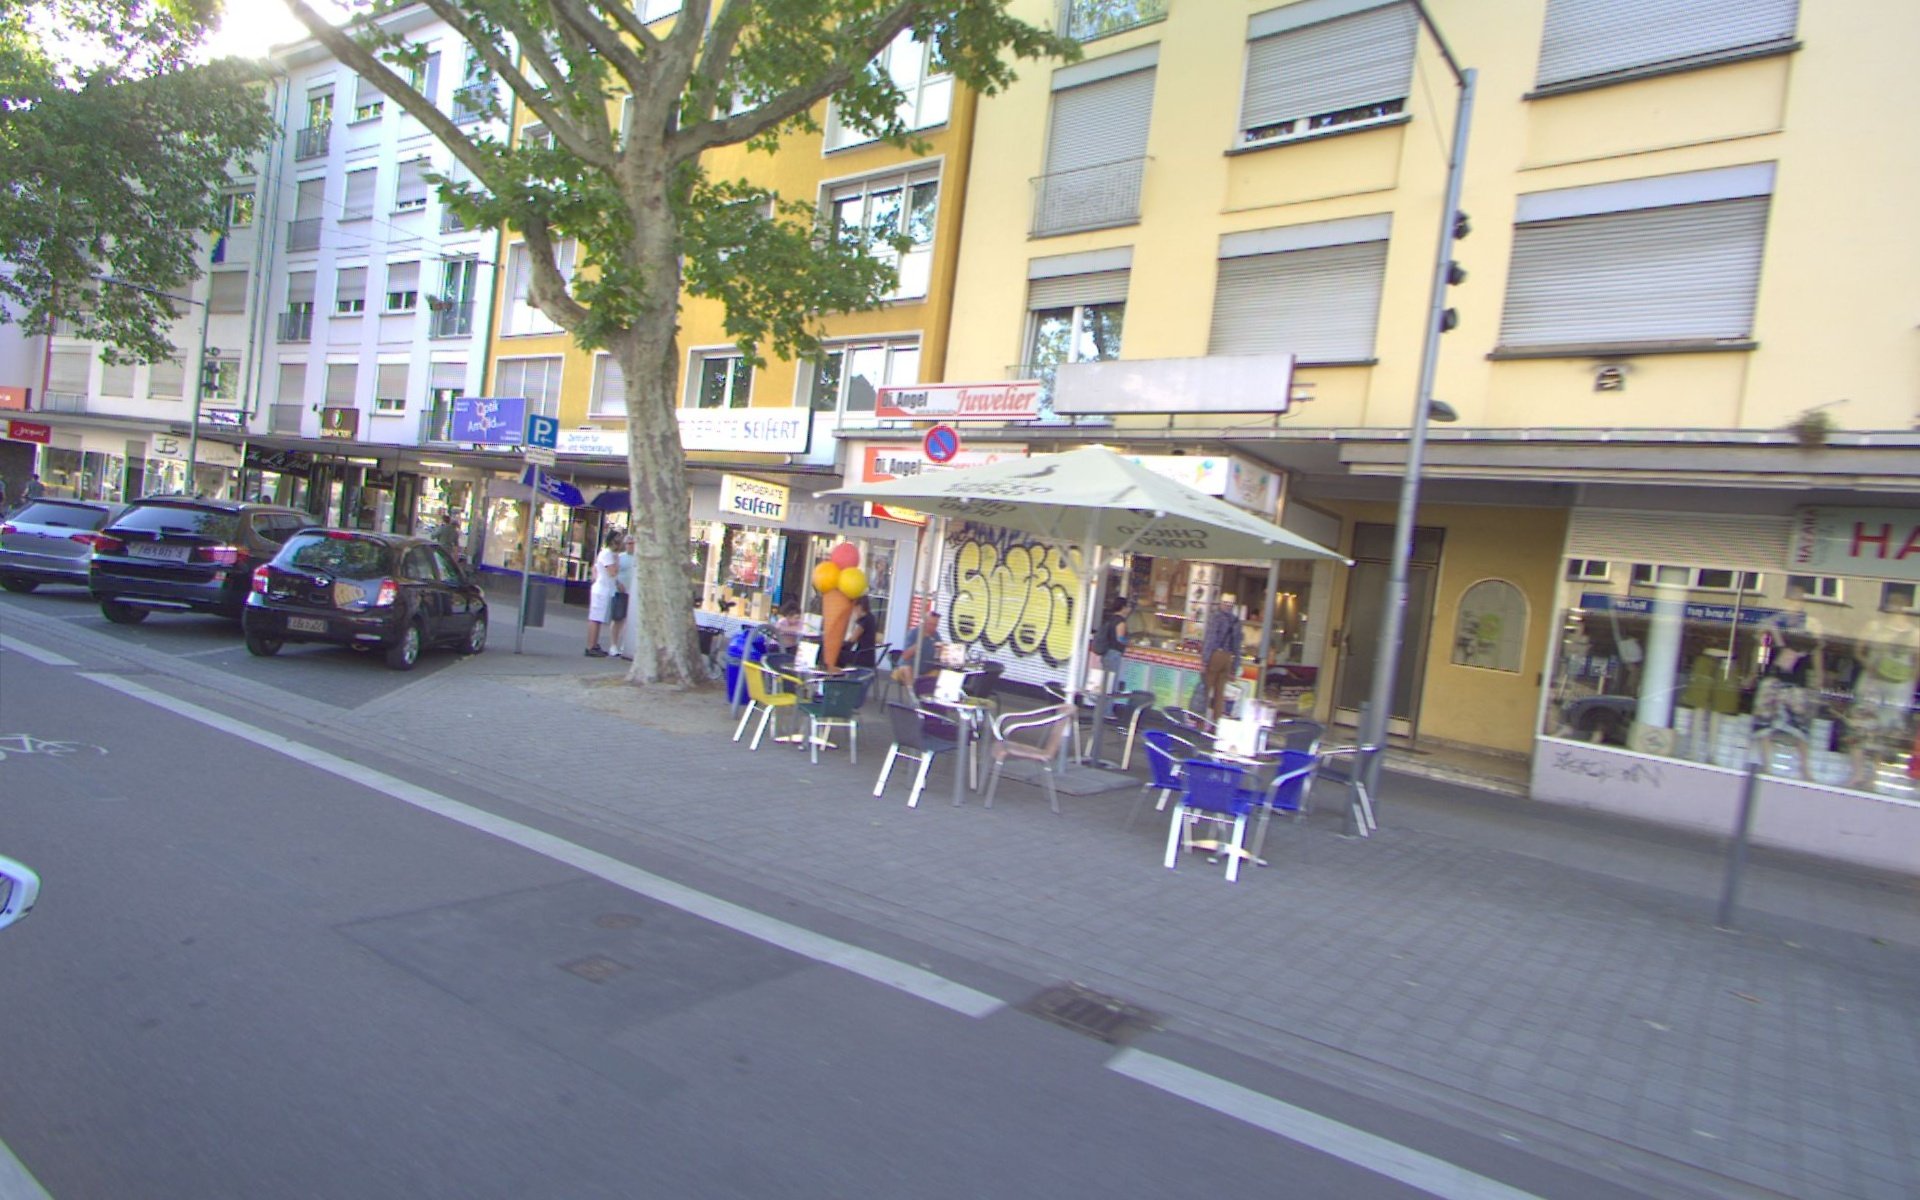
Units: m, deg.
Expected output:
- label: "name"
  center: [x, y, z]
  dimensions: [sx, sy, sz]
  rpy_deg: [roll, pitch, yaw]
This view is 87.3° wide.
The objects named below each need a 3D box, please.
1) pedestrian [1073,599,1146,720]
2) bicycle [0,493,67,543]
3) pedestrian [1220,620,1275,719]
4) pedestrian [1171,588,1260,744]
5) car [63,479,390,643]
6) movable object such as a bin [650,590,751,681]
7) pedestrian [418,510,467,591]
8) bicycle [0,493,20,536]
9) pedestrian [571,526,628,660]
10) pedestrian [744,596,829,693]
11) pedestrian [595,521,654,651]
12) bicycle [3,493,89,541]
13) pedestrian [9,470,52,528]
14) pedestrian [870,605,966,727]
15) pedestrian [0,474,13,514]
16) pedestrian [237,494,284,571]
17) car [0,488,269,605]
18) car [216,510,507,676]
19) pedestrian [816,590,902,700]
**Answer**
- label: "pedestrian"
  center: [2.011, 0.796, 13.588]
  dimensions: [0.618, 1.568, 0.633]
  rpy_deg: [2, 3, -27]
- label: "bicycle"
  center: [-26.752, -2.355, 28.431]
  dimensions: [0.818, 1.249, 2.079]
  rpy_deg: [8, 2, 37]
- label: "pedestrian"
  center: [4.056, 0.979, 14.195]
  dimensions: [0.500, 1.313, 0.425]
  rpy_deg: [7, 2, 36]
- label: "pedestrian"
  center: [3.163, 0.806, 12.472]
  dimensions: [0.629, 1.827, 0.623]
  rpy_deg: [6, 2, -22]
- label: "car"
  center: [-9.751, -0.482, 13.853]
  dimensions: [1.779, 1.702, 4.144]
  rpy_deg: [7, 0, -8]
- label: "movable object such as a bin"
  center: [-3.345, 0.469, 13.043]
  dimensions: [0.824, 1.035, 0.930]
  rpy_deg: [8, -1, 12]
- label: "pedestrian"
  center: [-12.137, -1.158, 23.591]
  dimensions: [0.776, 1.816, 0.705]
  rpy_deg: [8, 5, 38]
- label: "bicycle"
  center: [-28.223, -2.514, 28.788]
  dimensions: [0.660, 1.205, 1.787]
  rpy_deg: [6, 3, 24]
- label: "pedestrian"
  center: [-5.201, -0.104, 14.516]
  dimensions: [0.466, 1.856, 0.517]
  rpy_deg: [6, 2, 1]
- label: "pedestrian"
  center: [-2.217, 0.572, 12.864]
  dimensions: [0.738, 1.128, 0.584]
  rpy_deg: [7, 0, 33]
- label: "pedestrian"
  center: [-4.985, -0.204, 14.959]
  dimensions: [0.466, 1.855, 0.517]
  rpy_deg: [7, 1, 10]
- label: "bicycle"
  center: [-26.636, -2.412, 29.335]
  dimensions: [0.668, 1.169, 1.760]
  rpy_deg: [8, 2, 40]
- label: "pedestrian"
  center: [-31.889, -3.460, 34.515]
  dimensions: [0.751, 1.816, 0.781]
  rpy_deg: [7, 1, 32]
- label: "pedestrian"
  center: [-0.466, 0.735, 11.312]
  dimensions: [0.733, 1.240, 0.606]
  rpy_deg: [7, 1, 32]
- label: "pedestrian"
  center: [-42.130, -4.673, 43.931]
  dimensions: [0.820, 1.701, 0.749]
  rpy_deg: [10, 2, 26]
- label: "pedestrian"
  center: [-18.420, -1.780, 26.499]
  dimensions: [0.811, 1.900, 0.643]
  rpy_deg: [7, 2, 35]
- label: "car"
  center: [-13.167, -0.791, 15.899]
  dimensions: [1.778, 1.469, 4.172]
  rpy_deg: [7, 0, -6]
- label: "car"
  center: [-7.121, -0.094, 12.436]
  dimensions: [1.712, 1.560, 3.602]
  rpy_deg: [7, 0, -8]
- label: "pedestrian"
  center: [-1.294, 0.580, 12.959]
  dimensions: [0.746, 1.290, 0.584]
  rpy_deg: [7, 0, 33]
